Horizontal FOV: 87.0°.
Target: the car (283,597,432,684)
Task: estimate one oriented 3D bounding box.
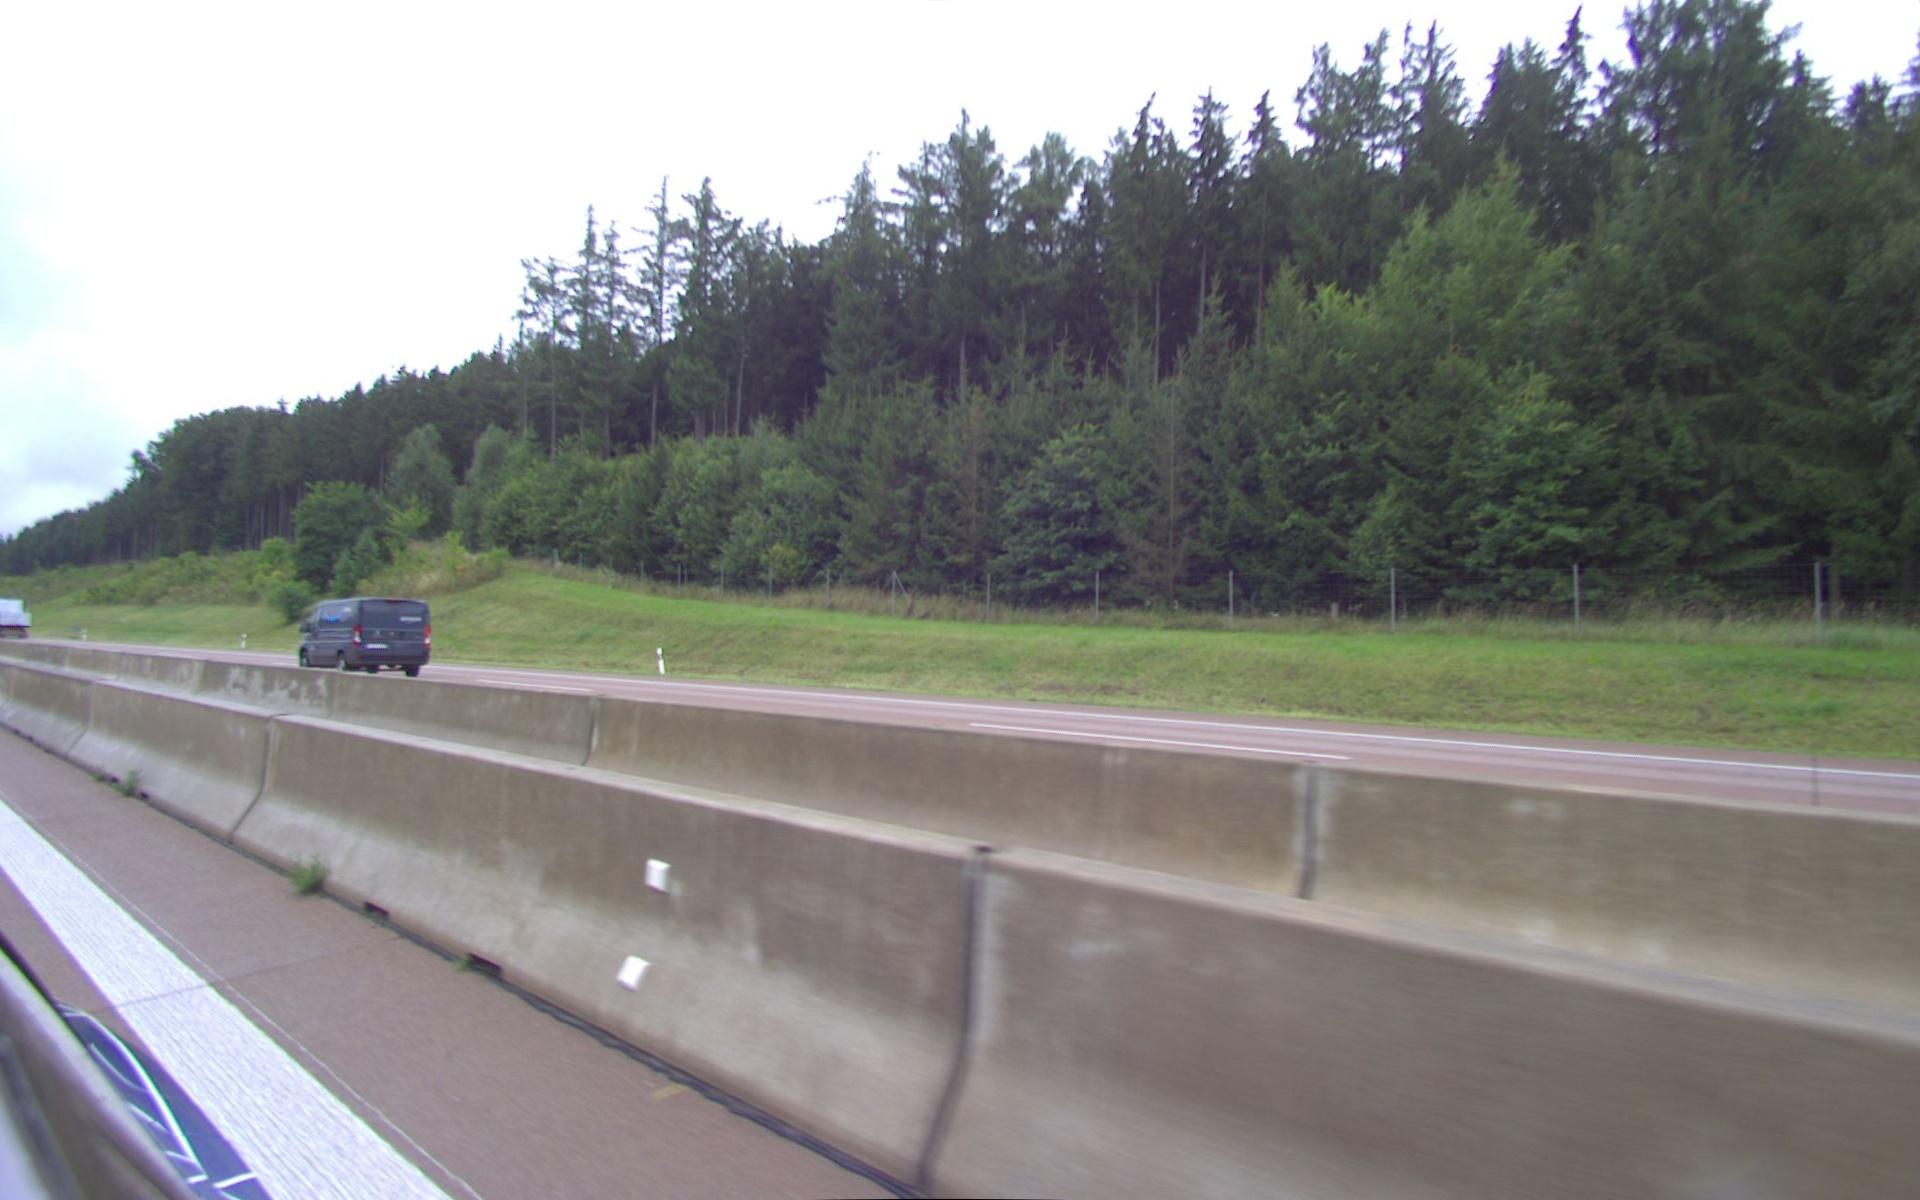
[{"bbox_3d":[-17.719,1.082,29.660,5.391,2.296,2.081,0,1,40],"label":"car"}]

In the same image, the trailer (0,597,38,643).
[{"bbox_3d":[-96.741,2.121,102.455,12.931,4.309,2.904,-2,-5,39],"label":"trailer"}]

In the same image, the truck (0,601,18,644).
[{"bbox_3d":[-102.991,2.389,107.580,7.641,4.354,2.935,-2,-6,39],"label":"truck"}]
